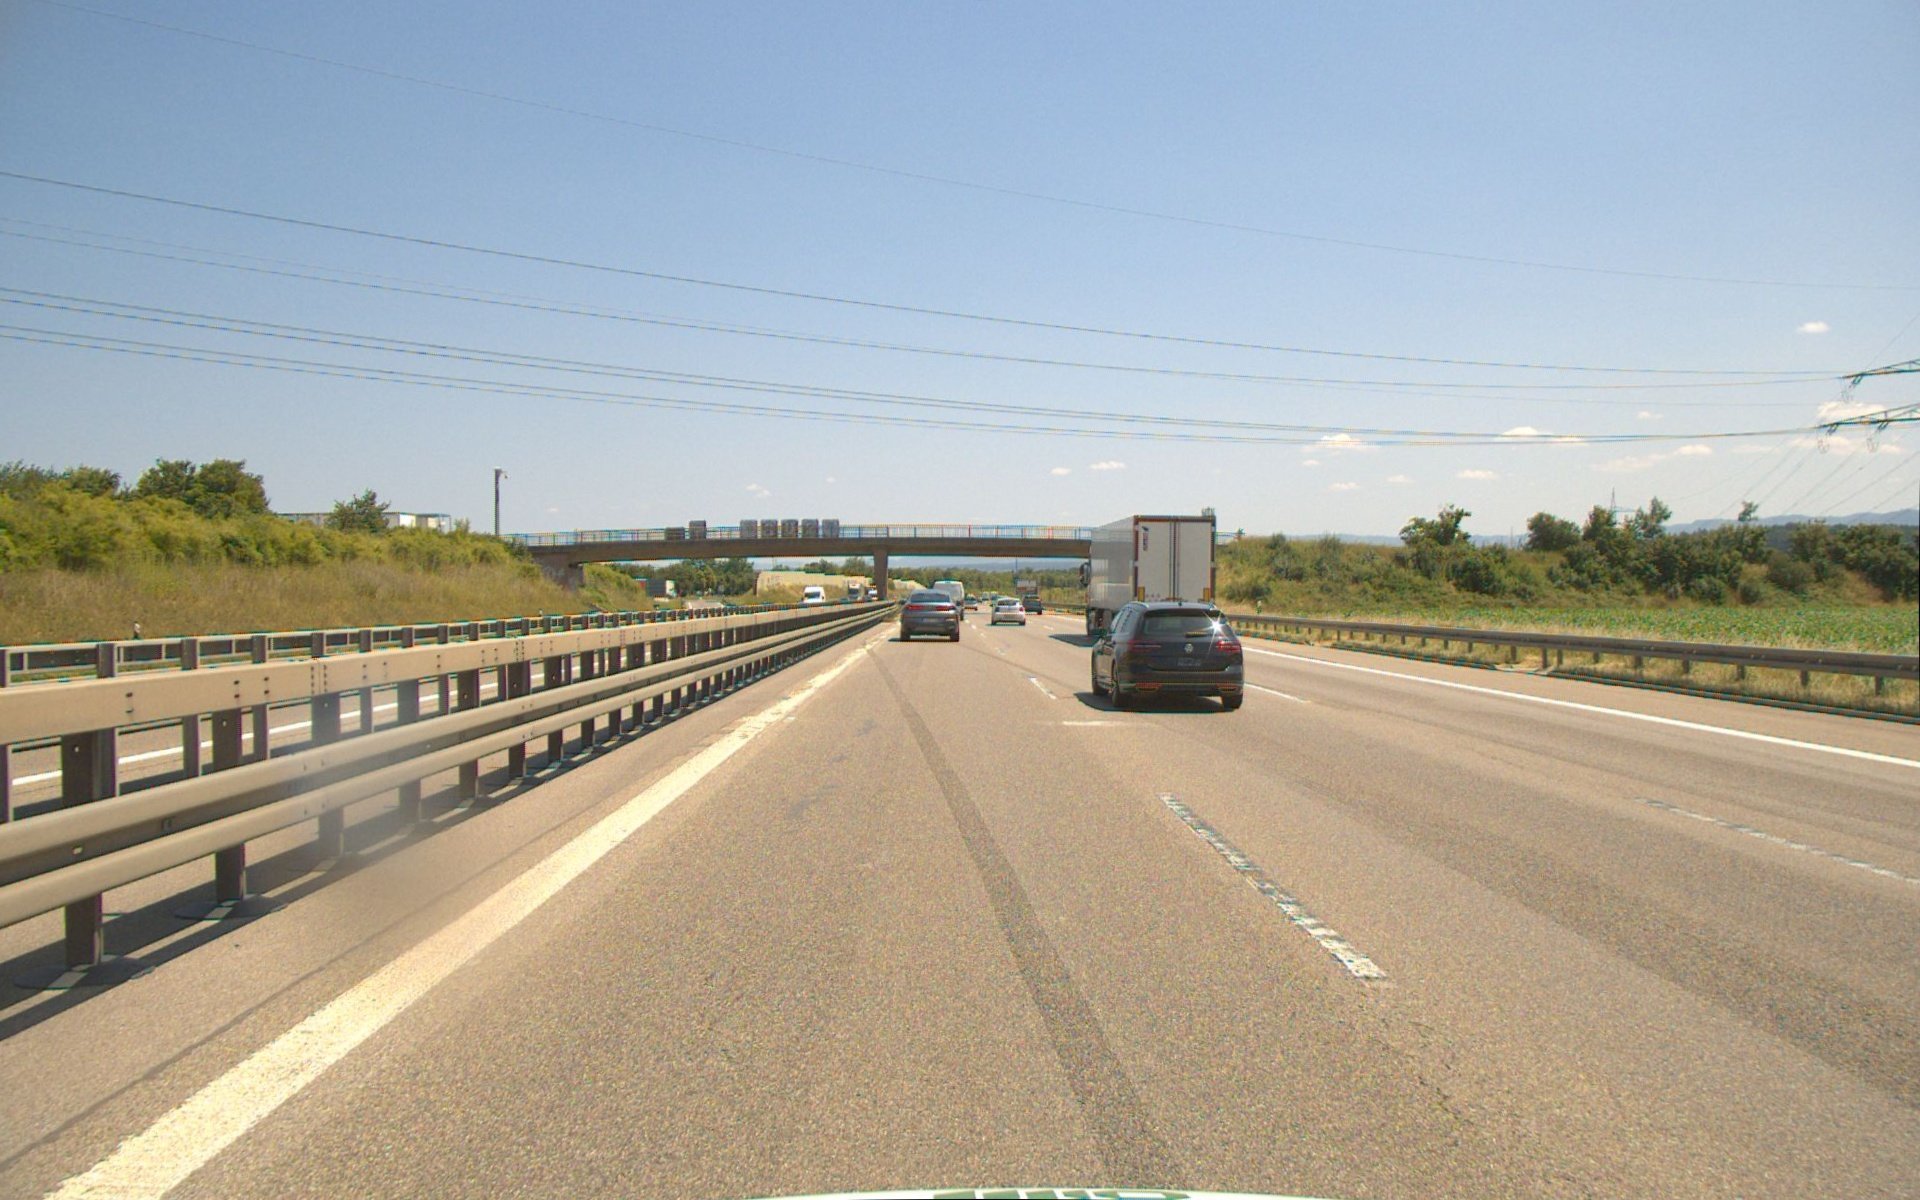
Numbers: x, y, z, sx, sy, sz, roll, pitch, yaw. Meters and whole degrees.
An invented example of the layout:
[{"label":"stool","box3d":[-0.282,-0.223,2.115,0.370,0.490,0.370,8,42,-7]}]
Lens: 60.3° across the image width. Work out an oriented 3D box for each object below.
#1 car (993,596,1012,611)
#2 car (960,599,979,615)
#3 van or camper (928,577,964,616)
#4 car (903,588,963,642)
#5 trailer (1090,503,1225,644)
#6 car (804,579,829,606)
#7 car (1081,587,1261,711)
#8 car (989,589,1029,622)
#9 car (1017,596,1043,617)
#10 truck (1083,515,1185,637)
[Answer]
[{"label":"car","box3d":[4.829,0.414,187.604,1.953,1.712,3.999,1,0,-1]},{"label":"car","box3d":[1.006,0.717,174.140,1.953,1.712,3.999,1,0,-1]},{"label":"van or camper","box3d":[-0.864,-0.217,101.354,2.067,2.250,5.265,1,0,-1]},{"label":"car","box3d":[-0.945,0.473,55.082,1.814,1.693,3.732,1,0,-4]},{"label":"trailer","box3d":[6.539,-0.819,57.133,2.883,4.271,13.594,1,0,-1]},{"label":"car","box3d":[-14.722,-0.761,169.763,1.991,2.651,7.599,1,0,-1]},{"label":"car","box3d":[2.950,0.637,24.141,1.894,1.602,4.933,1,0,-1]},{"label":"car","box3d":[2.562,0.280,87.612,1.953,1.712,3.999,1,0,-1]},{"label":"car","box3d":[5.845,0.509,139.286,1.953,1.712,3.999,1,0,-1]},{"label":"truck","box3d":[6.500,-0.858,62.891,2.918,4.301,7.686,1,0,-1]}]
